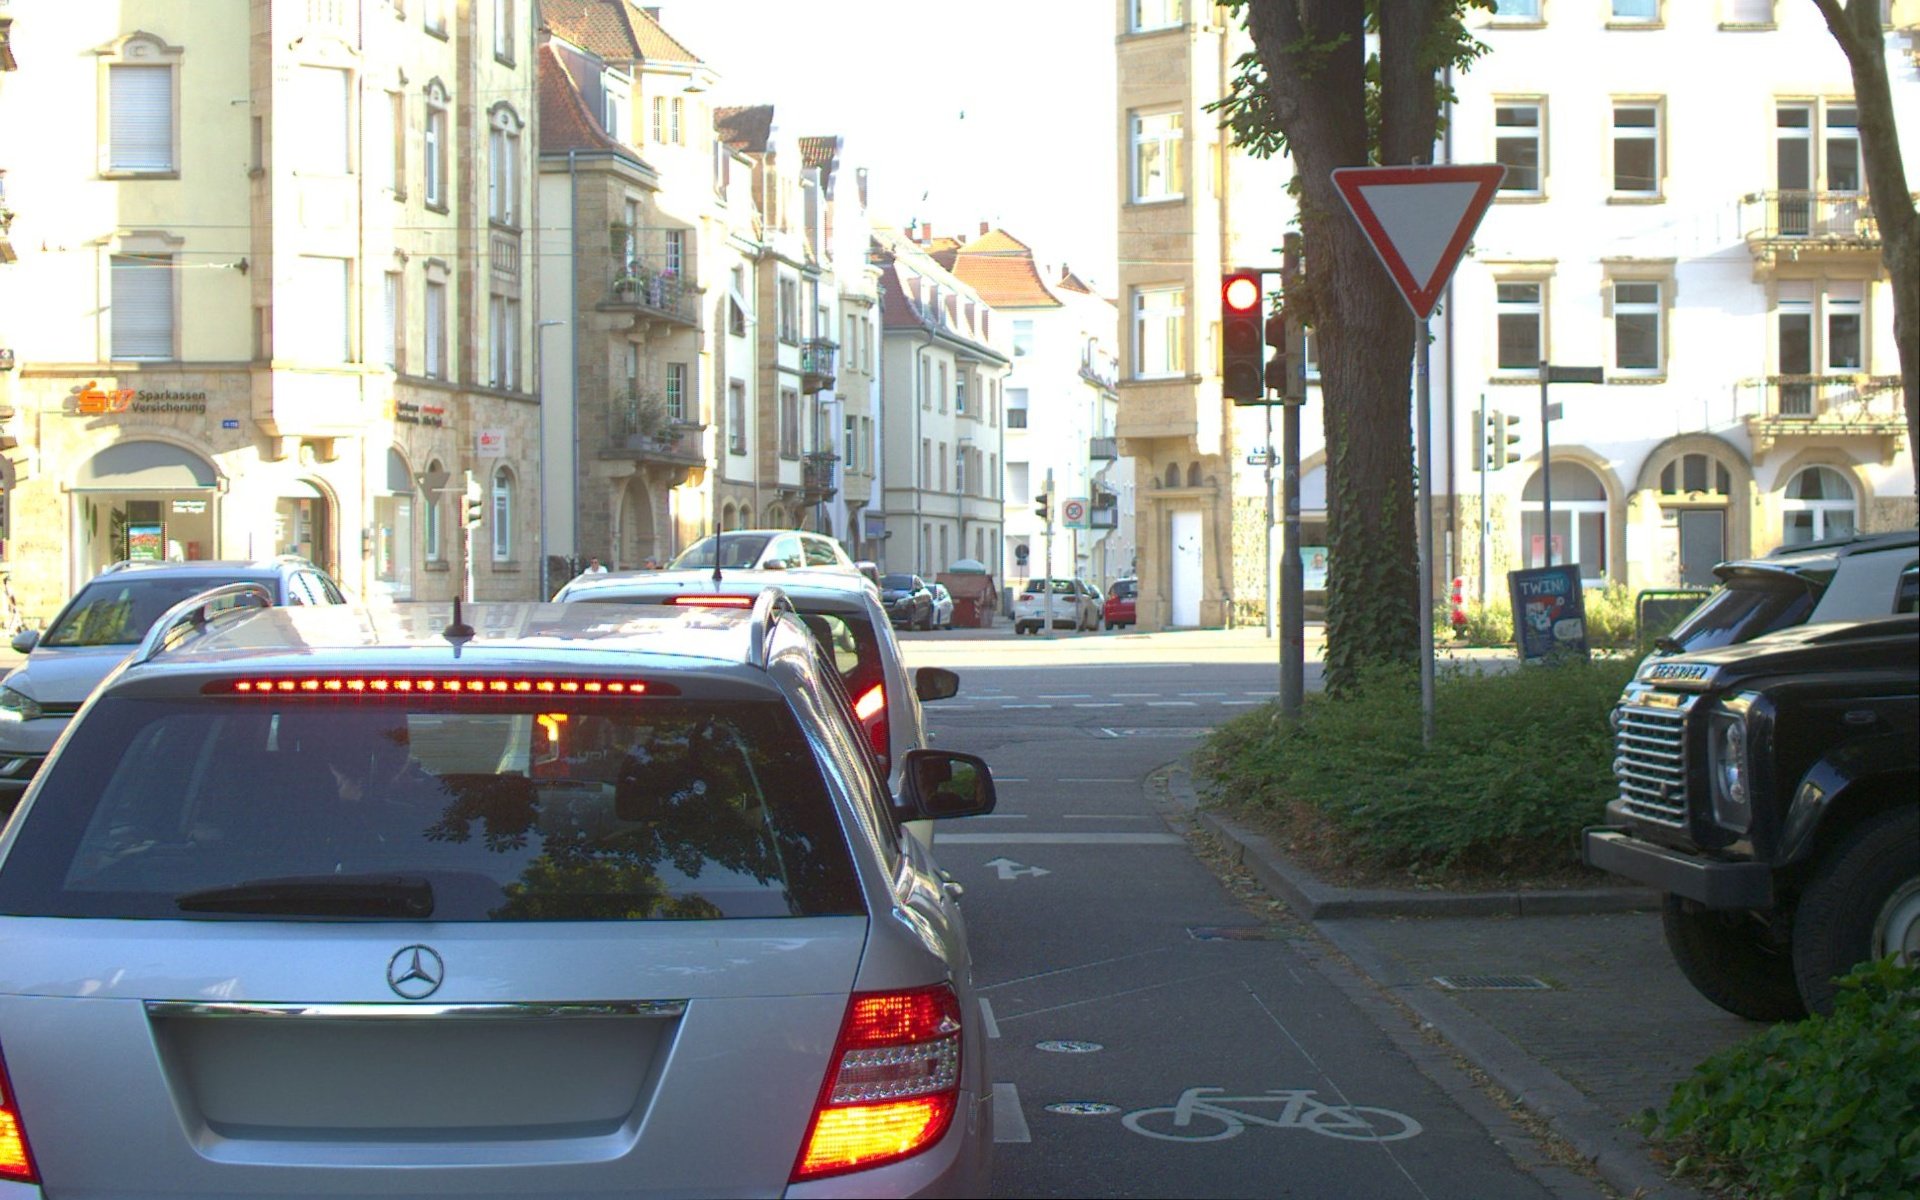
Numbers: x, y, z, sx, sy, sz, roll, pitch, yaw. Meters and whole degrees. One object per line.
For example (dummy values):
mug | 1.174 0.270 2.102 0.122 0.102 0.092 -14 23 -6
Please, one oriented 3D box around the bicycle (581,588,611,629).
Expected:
bicycle | -7.734 0.176 73.057 0.568 0.832 1.566 0 1 -4

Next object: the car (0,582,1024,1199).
car | -0.863 0.709 6.490 1.690 1.424 3.493 1 1 -3

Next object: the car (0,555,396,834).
car | -4.720 0.501 21.180 1.781 1.457 4.300 -2 1 -1

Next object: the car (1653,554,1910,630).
car | 11.857 -0.125 49.706 3.364 1.065 1.380 0 1 -1

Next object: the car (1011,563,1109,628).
car | 2.527 -0.125 85.906 1.722 1.473 3.998 -2 1 12

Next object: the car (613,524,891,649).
car | -2.624 -0.208 43.997 1.619 1.496 3.585 1 2 36

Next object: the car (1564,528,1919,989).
car | 4.241 0.505 13.006 3.480 1.580 1.711 -2 1 -6

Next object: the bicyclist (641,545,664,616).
bicyclist | -6.553 -0.421 73.364 0.466 1.516 0.694 0 1 -4

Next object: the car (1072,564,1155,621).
car | 4.569 -0.230 102.077 1.722 1.473 3.998 -4 1 12

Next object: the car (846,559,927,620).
car | -2.168 -0.305 102.435 1.651 1.777 3.861 0 0 11

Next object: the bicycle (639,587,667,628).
bicycle | -6.542 0.152 73.341 0.568 0.832 1.566 0 1 -4

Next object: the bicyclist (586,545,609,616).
bicyclist | -7.713 -0.413 73.191 0.466 1.509 0.655 0 1 -4

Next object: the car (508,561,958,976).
car | -0.843 0.560 13.558 1.533 1.386 3.600 0 1 -2

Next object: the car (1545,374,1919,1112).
car | 4.188 0.294 10.184 4.490 1.949 1.793 -2 1 -3
